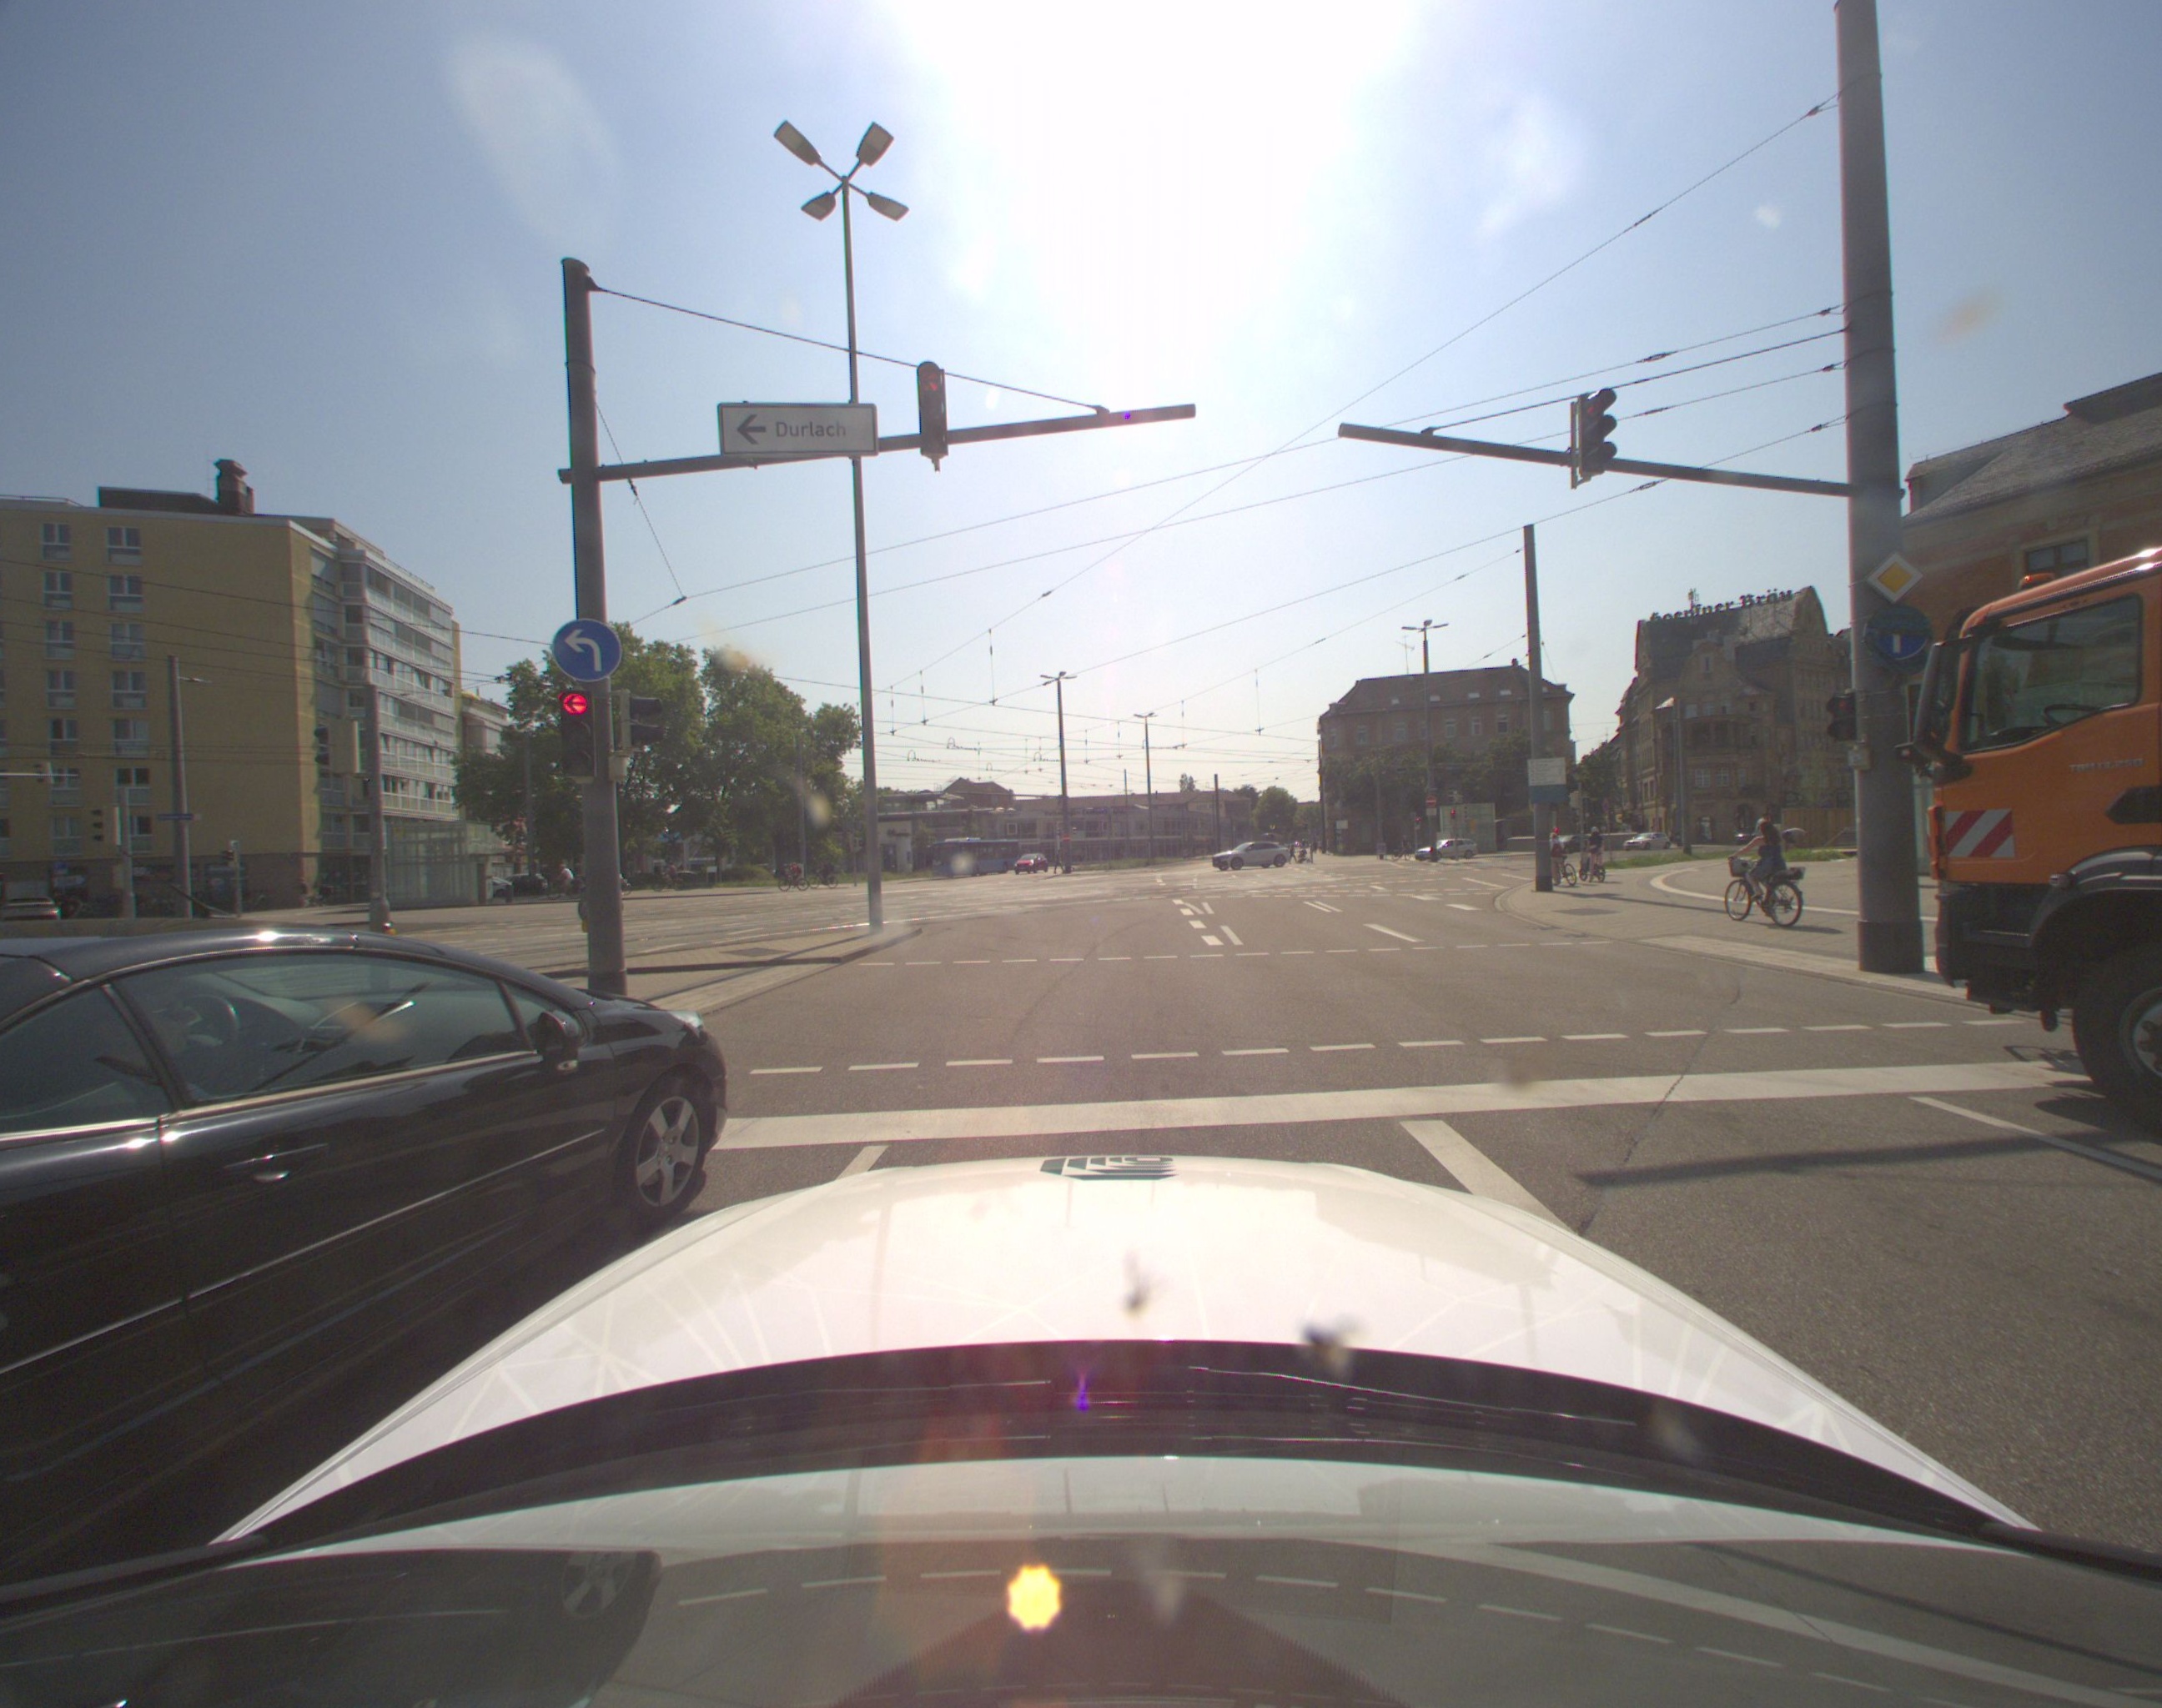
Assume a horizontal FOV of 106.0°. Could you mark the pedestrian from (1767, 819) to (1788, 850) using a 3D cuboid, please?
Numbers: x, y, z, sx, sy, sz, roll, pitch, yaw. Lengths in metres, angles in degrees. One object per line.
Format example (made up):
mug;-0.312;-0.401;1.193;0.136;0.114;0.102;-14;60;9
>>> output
pedestrian;36.056;-0.993;42.147;0.794;1.575;0.729;-2;0;-44

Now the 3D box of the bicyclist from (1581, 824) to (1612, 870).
bicyclist;16.064;-0.221;25.399;0.526;1.393;0.897;-2;0;14

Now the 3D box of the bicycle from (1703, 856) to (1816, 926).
bicycle;11.249;0.575;13.582;0.489;1.055;1.826;-2;0;6

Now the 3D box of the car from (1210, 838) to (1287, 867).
car;10.389;-0.087;50.585;4.333;1.618;1.744;-2;0;-18

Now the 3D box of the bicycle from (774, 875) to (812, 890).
bicycle;-17.066;1.705;48.351;2.049;0.802;0.478;-2;0;-11

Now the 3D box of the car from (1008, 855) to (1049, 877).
car;-4.124;0.937;64.491;1.735;1.552;4.020;-3;0;20

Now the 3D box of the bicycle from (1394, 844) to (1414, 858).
bicycle;24.129;-0.217;60.865;0.470;1.055;1.643;-2;0;-18

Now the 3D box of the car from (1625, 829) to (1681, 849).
car;45.743;-1.194;65.132;4.207;1.415;1.762;-2;0;-24

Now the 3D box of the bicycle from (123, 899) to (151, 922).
bicycle;-51.858;3.106;44.723;3.220;1.204;0.699;-3;0;36

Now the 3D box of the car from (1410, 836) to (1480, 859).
car;25.214;-0.457;56.386;4.178;1.415;1.769;-2;0;-12

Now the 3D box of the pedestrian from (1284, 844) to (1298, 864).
pedestrian;16.609;-0.035;64.354;0.849;1.545;0.527;-2;0;-6

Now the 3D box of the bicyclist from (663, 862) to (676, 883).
bicyclist;-26.059;1.150;51.593;0.544;1.293;0.557;-2;0;-10

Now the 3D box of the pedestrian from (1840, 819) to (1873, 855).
pedestrian;31.584;-0.693;33.156;0.768;1.399;0.687;-2;0;-24

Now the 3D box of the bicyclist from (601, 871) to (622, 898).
bicyclist;-27.783;1.793;48.211;0.909;1.508;0.557;-2;0;-8

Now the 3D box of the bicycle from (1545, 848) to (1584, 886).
bicycle;14.452;0.371;24.391;0.532;1.055;1.660;-2;0;14

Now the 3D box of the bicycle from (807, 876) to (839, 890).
bicycle;-16.214;1.819;51.185;1.860;0.802;0.604;-2;0;-17

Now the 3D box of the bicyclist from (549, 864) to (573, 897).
bicyclist;-29.350;1.463;45.964;0.924;1.808;0.495;-2;0;-11

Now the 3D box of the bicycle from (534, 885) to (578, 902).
bicycle;-29.588;2.225;45.921;2.049;0.802;0.478;-2;0;-11

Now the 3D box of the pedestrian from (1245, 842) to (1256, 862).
pedestrian;13.428;-0.162;64.604;0.699;1.603;0.572;-2;0;-6

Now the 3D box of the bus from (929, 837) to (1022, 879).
bus;-8.467;0.239;67.786;2.541;3.082;12.081;-3;0;19

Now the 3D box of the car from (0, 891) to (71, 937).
car;-48.450;2.742;37.738;3.949;1.925;1.815;-3;0;42

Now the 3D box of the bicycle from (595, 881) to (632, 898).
bicycle;-27.670;2.099;48.234;1.813;0.942;0.566;-2;0;-8

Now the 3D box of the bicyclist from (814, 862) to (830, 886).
bicyclist;-16.280;1.238;51.177;0.873;1.475;0.543;-2;0;-16

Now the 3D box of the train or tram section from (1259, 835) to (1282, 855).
train or tram section;34.961;-1.718;149.888;2.566;3.516;10.955;-2;0;21

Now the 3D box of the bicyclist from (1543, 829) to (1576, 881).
bicyclist;14.442;0.035;24.586;0.623;1.517;0.714;-2;0;14

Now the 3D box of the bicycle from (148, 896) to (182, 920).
bicycle;-50.688;2.975;45.057;3.220;1.204;0.916;-3;0;36

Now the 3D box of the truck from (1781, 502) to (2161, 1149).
truck;6.402;-0.140;2.766;2.481;3.134;6.868;0;0;4

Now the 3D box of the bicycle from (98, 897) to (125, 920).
bicycle;-52.962;2.976;44.489;2.754;1.204;0.699;-3;0;36

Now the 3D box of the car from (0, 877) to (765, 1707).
car;-2.677;0.826;2.316;1.757;1.388;3.787;-1;0;6

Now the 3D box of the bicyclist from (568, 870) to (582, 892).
bicyclist;-30.976;1.651;49.852;0.544;1.293;0.557;-2;0;-10

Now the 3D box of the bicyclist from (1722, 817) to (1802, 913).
bicyclist;11.173;0.173;13.381;0.730;1.517;0.664;-2;0;6

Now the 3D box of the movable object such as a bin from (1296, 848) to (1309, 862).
movable object such as a bin;17.489;0.069;64.235;0.812;1.077;0.510;-2;0;-9

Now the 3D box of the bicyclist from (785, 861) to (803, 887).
bicyclist;-17.049;1.186;48.344;0.871;1.483;0.496;-2;0;-10

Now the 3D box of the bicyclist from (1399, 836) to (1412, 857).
bicyclist;24.187;-0.579;60.690;0.614;1.528;0.517;-2;0;-23

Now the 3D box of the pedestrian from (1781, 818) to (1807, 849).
pedestrian;28.868;-0.838;32.965;0.658;1.214;0.531;-2;0;30

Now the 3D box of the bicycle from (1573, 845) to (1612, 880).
bicycle;16.171;0.267;25.767;0.532;1.055;1.660;-2;0;14

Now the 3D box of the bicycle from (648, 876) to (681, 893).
bicycle;-26.390;1.923;51.595;1.814;0.942;0.414;-2;0;-11

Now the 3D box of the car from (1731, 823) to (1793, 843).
car;59.548;-1.851;71.218;4.625;1.505;1.987;-2;0;-19

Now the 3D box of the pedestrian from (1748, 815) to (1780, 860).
pedestrian;26.923;-0.638;32.104;0.549;1.724;0.812;-2;0;-39

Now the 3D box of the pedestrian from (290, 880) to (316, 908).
pedestrian;-45.265;2.322;47.408;0.860;1.543;0.737;-2;0;-24

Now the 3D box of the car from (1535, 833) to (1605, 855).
car;36.391;-0.756;60.638;4.766;1.415;1.765;-2;0;-18

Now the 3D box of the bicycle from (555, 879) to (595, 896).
bicycle;-30.991;2.035;49.916;2.033;0.942;0.466;-2;0;-11

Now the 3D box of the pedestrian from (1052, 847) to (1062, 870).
pedestrian;-1.709;0.327;58.760;0.554;1.684;0.451;-2;0;-17

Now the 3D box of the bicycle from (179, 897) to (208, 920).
bicycle;-49.449;3.020;45.378;3.220;1.204;0.699;-3;0;36
